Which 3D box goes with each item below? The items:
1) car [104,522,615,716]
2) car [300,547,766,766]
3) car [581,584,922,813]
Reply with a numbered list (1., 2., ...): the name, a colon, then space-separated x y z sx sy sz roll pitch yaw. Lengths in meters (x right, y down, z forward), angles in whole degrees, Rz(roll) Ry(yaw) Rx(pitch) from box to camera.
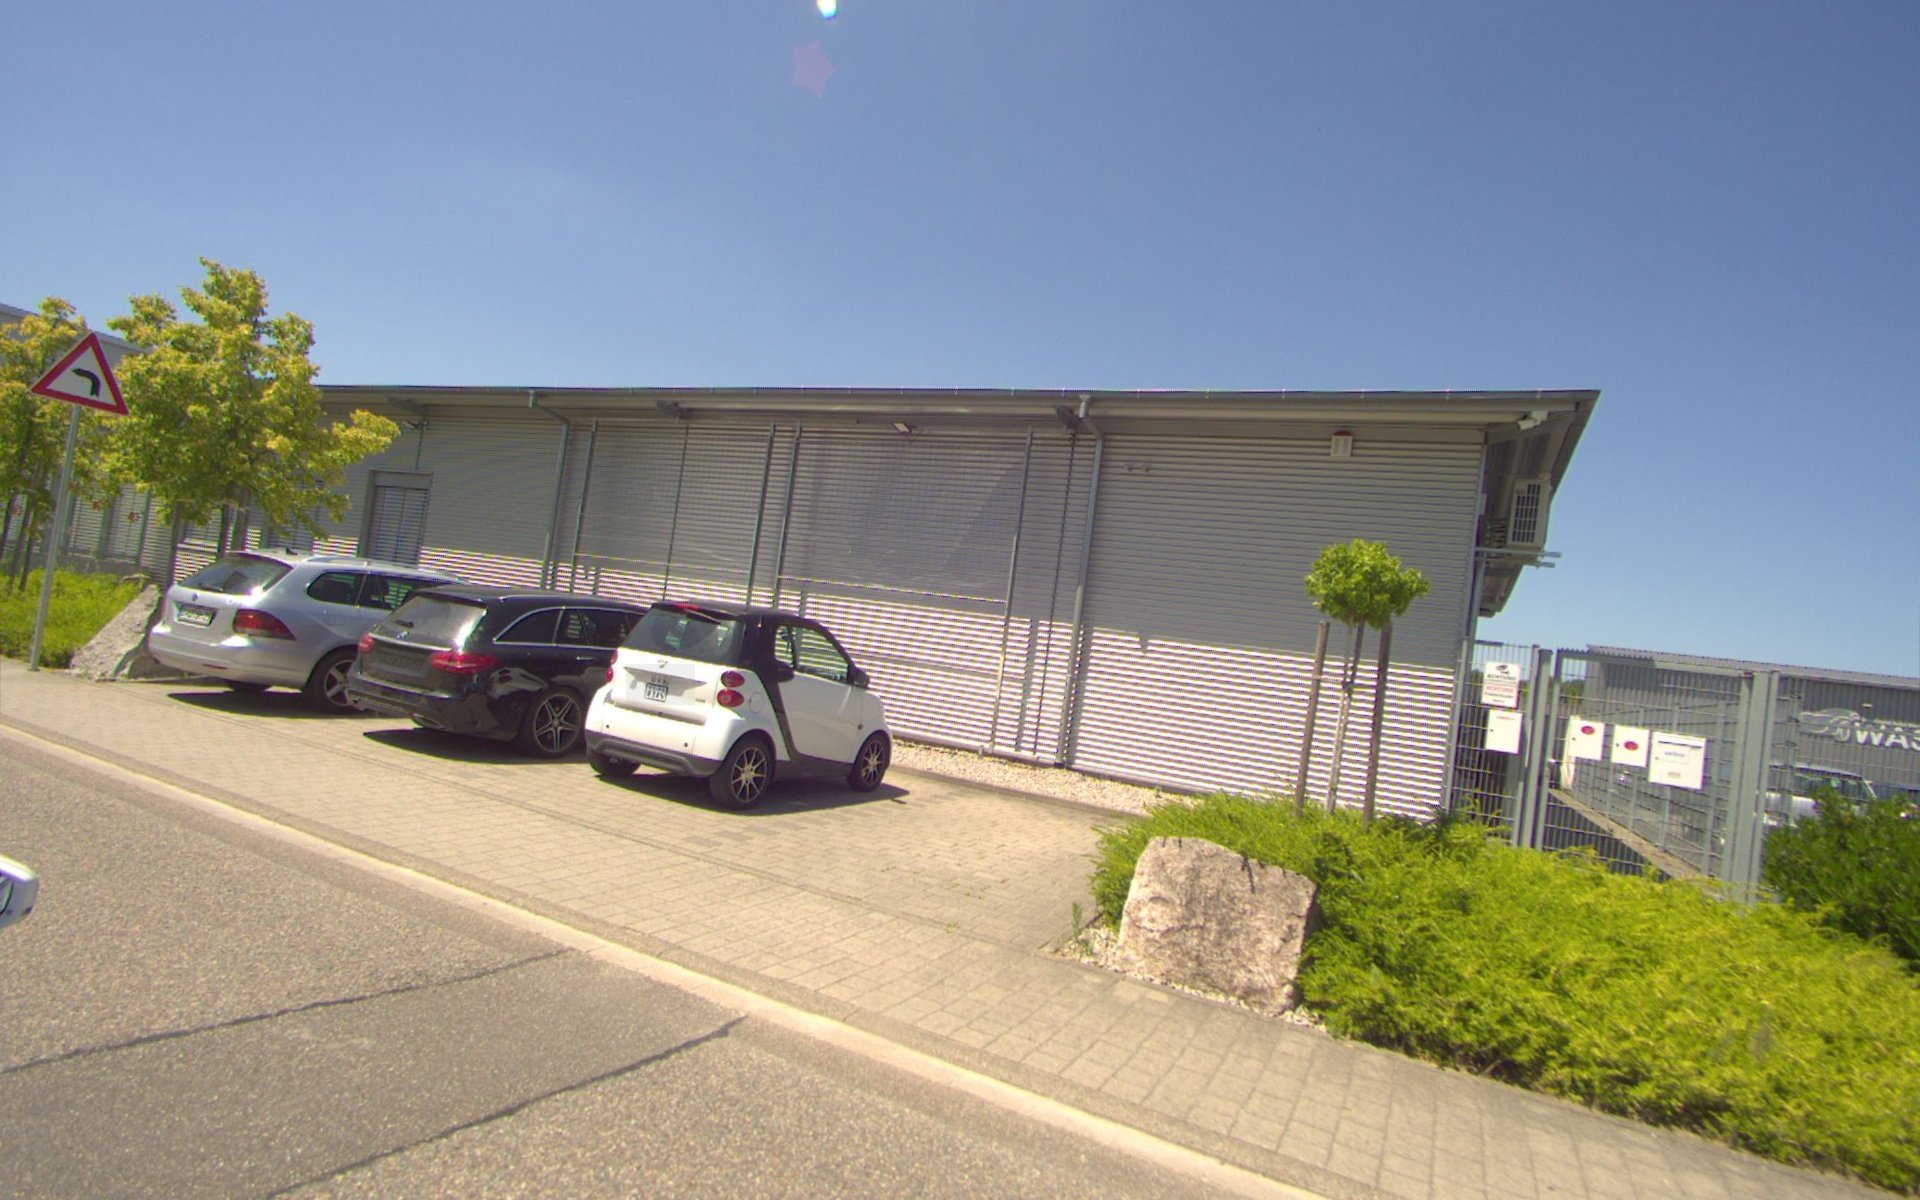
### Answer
1. car: -6.140 0.339 10.913 1.880 1.558 4.292 6 -3 28
2. car: -3.891 0.592 9.817 1.880 1.558 3.703 6 -2 28
3. car: -1.692 0.847 8.891 1.388 1.558 2.714 7 -2 28
